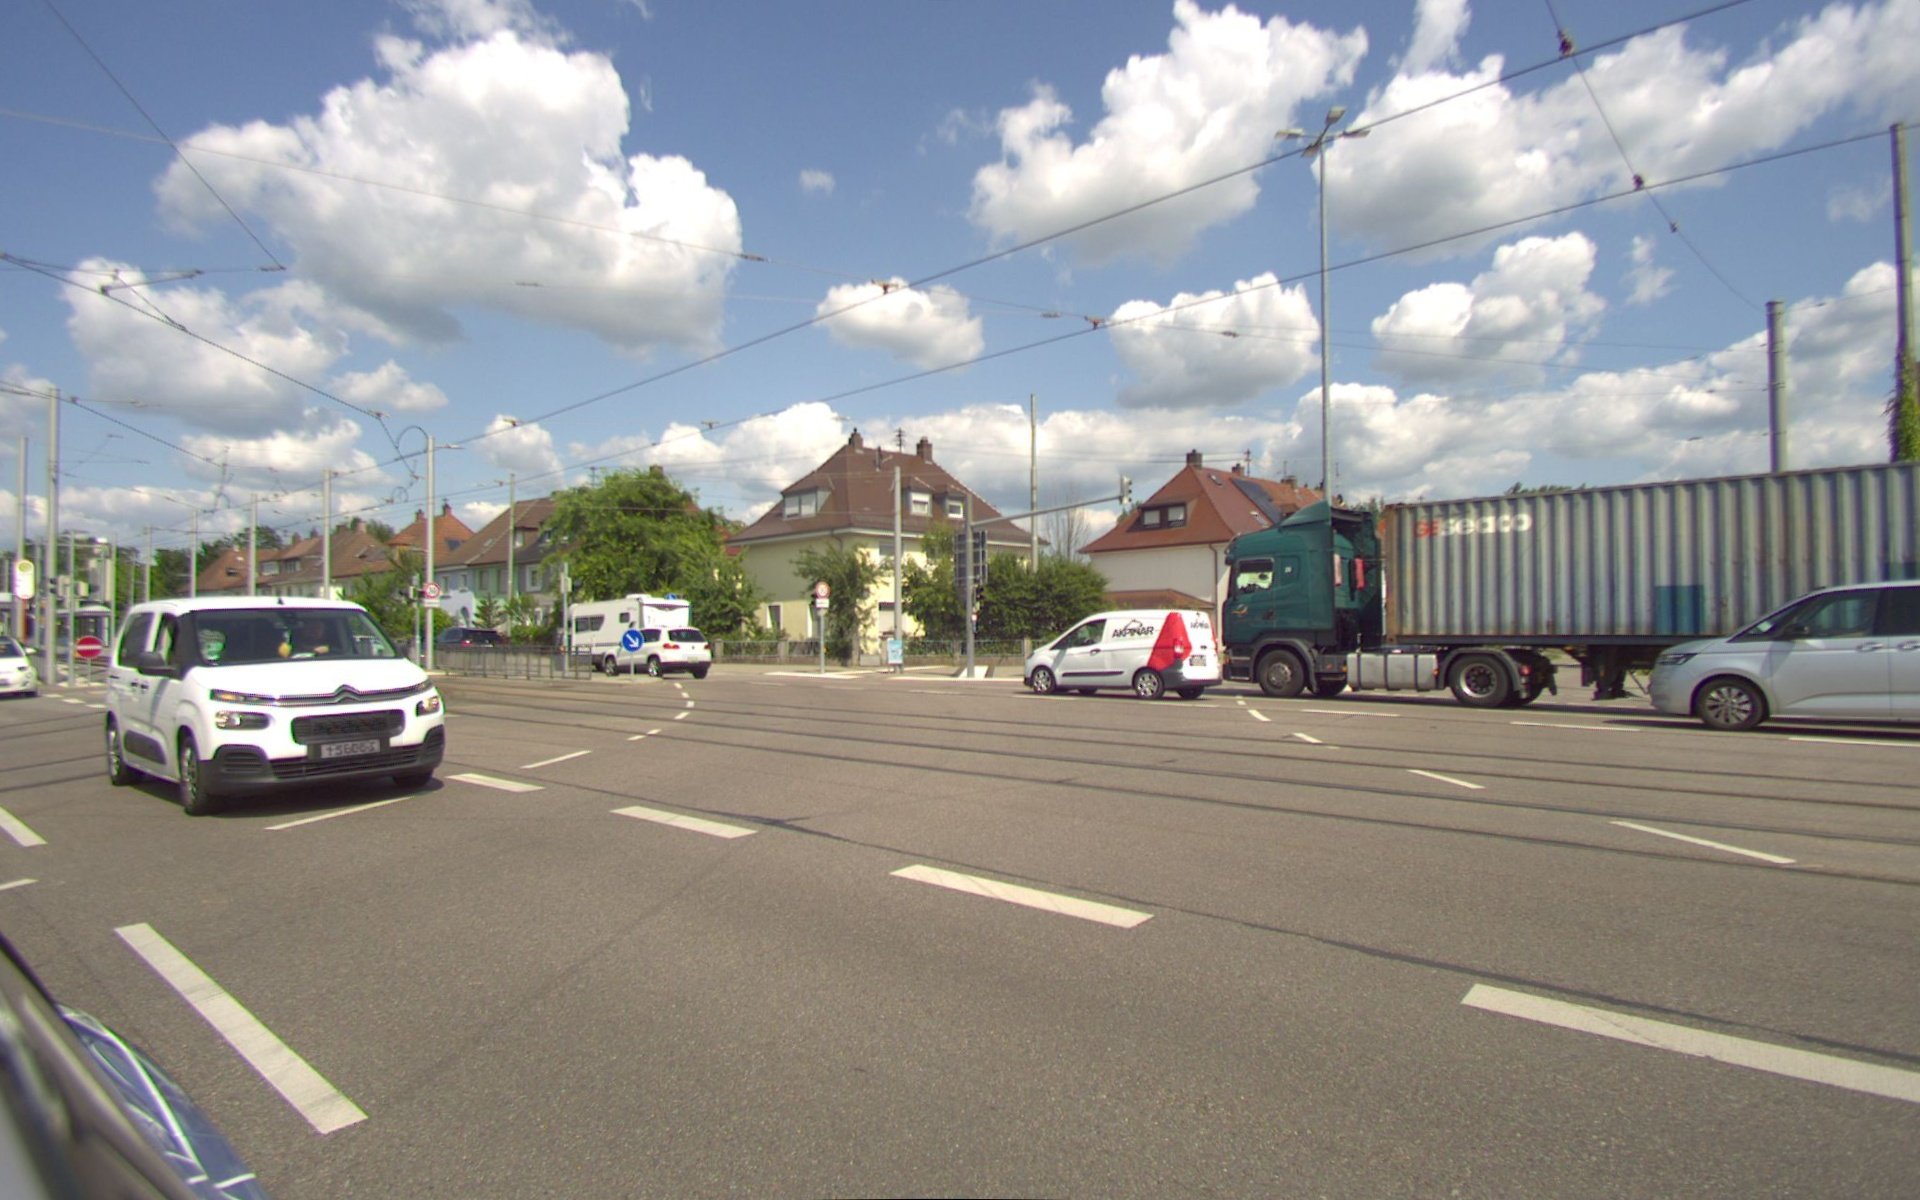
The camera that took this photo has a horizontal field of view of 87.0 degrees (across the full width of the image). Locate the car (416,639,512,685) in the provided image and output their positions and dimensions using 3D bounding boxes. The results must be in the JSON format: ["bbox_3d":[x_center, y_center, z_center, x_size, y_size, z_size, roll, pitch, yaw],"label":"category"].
[{"bbox_3d":[-20.439,2.531,41.607,4.879,1.790,1.971,-3,-4,44],"label":"car"}]

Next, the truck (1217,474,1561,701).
[{"bbox_3d":[8.277,-0.048,20.003,5.668,3.851,2.570,-3,-5,44],"label":"truck"}]

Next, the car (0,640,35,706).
[{"bbox_3d":[-24.011,1.774,24.641,3.389,1.515,1.660,-2,-1,38],"label":"car"}]

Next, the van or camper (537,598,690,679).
[{"bbox_3d":[-14.076,1.499,40.728,7.752,2.952,2.299,-1,-3,42],"label":"van or camper"}]

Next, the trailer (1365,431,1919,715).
[{"bbox_3d":[13.103,-0.262,15.370,12.837,3.851,2.570,-3,-5,44],"label":"trailer"}]

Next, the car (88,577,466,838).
[{"bbox_3d":[-6.351,0.807,9.197,4.327,1.829,1.776,-2,-1,41],"label":"car"}]

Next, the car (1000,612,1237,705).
[{"bbox_3d":[3.051,1.100,20.192,4.471,1.649,1.775,-1,-3,43],"label":"car"}]

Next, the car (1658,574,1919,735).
[{"bbox_3d":[11.439,0.649,12.287,4.710,1.829,1.776,-1,-3,41],"label":"car"}]

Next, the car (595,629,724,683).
[{"bbox_3d":[-9.582,1.753,32.111,4.176,1.564,1.972,-1,-5,42],"label":"car"}]

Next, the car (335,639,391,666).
[{"bbox_3d":[-34.671,3.012,58.740,4.346,1.362,1.665,-1,0,44],"label":"car"}]
